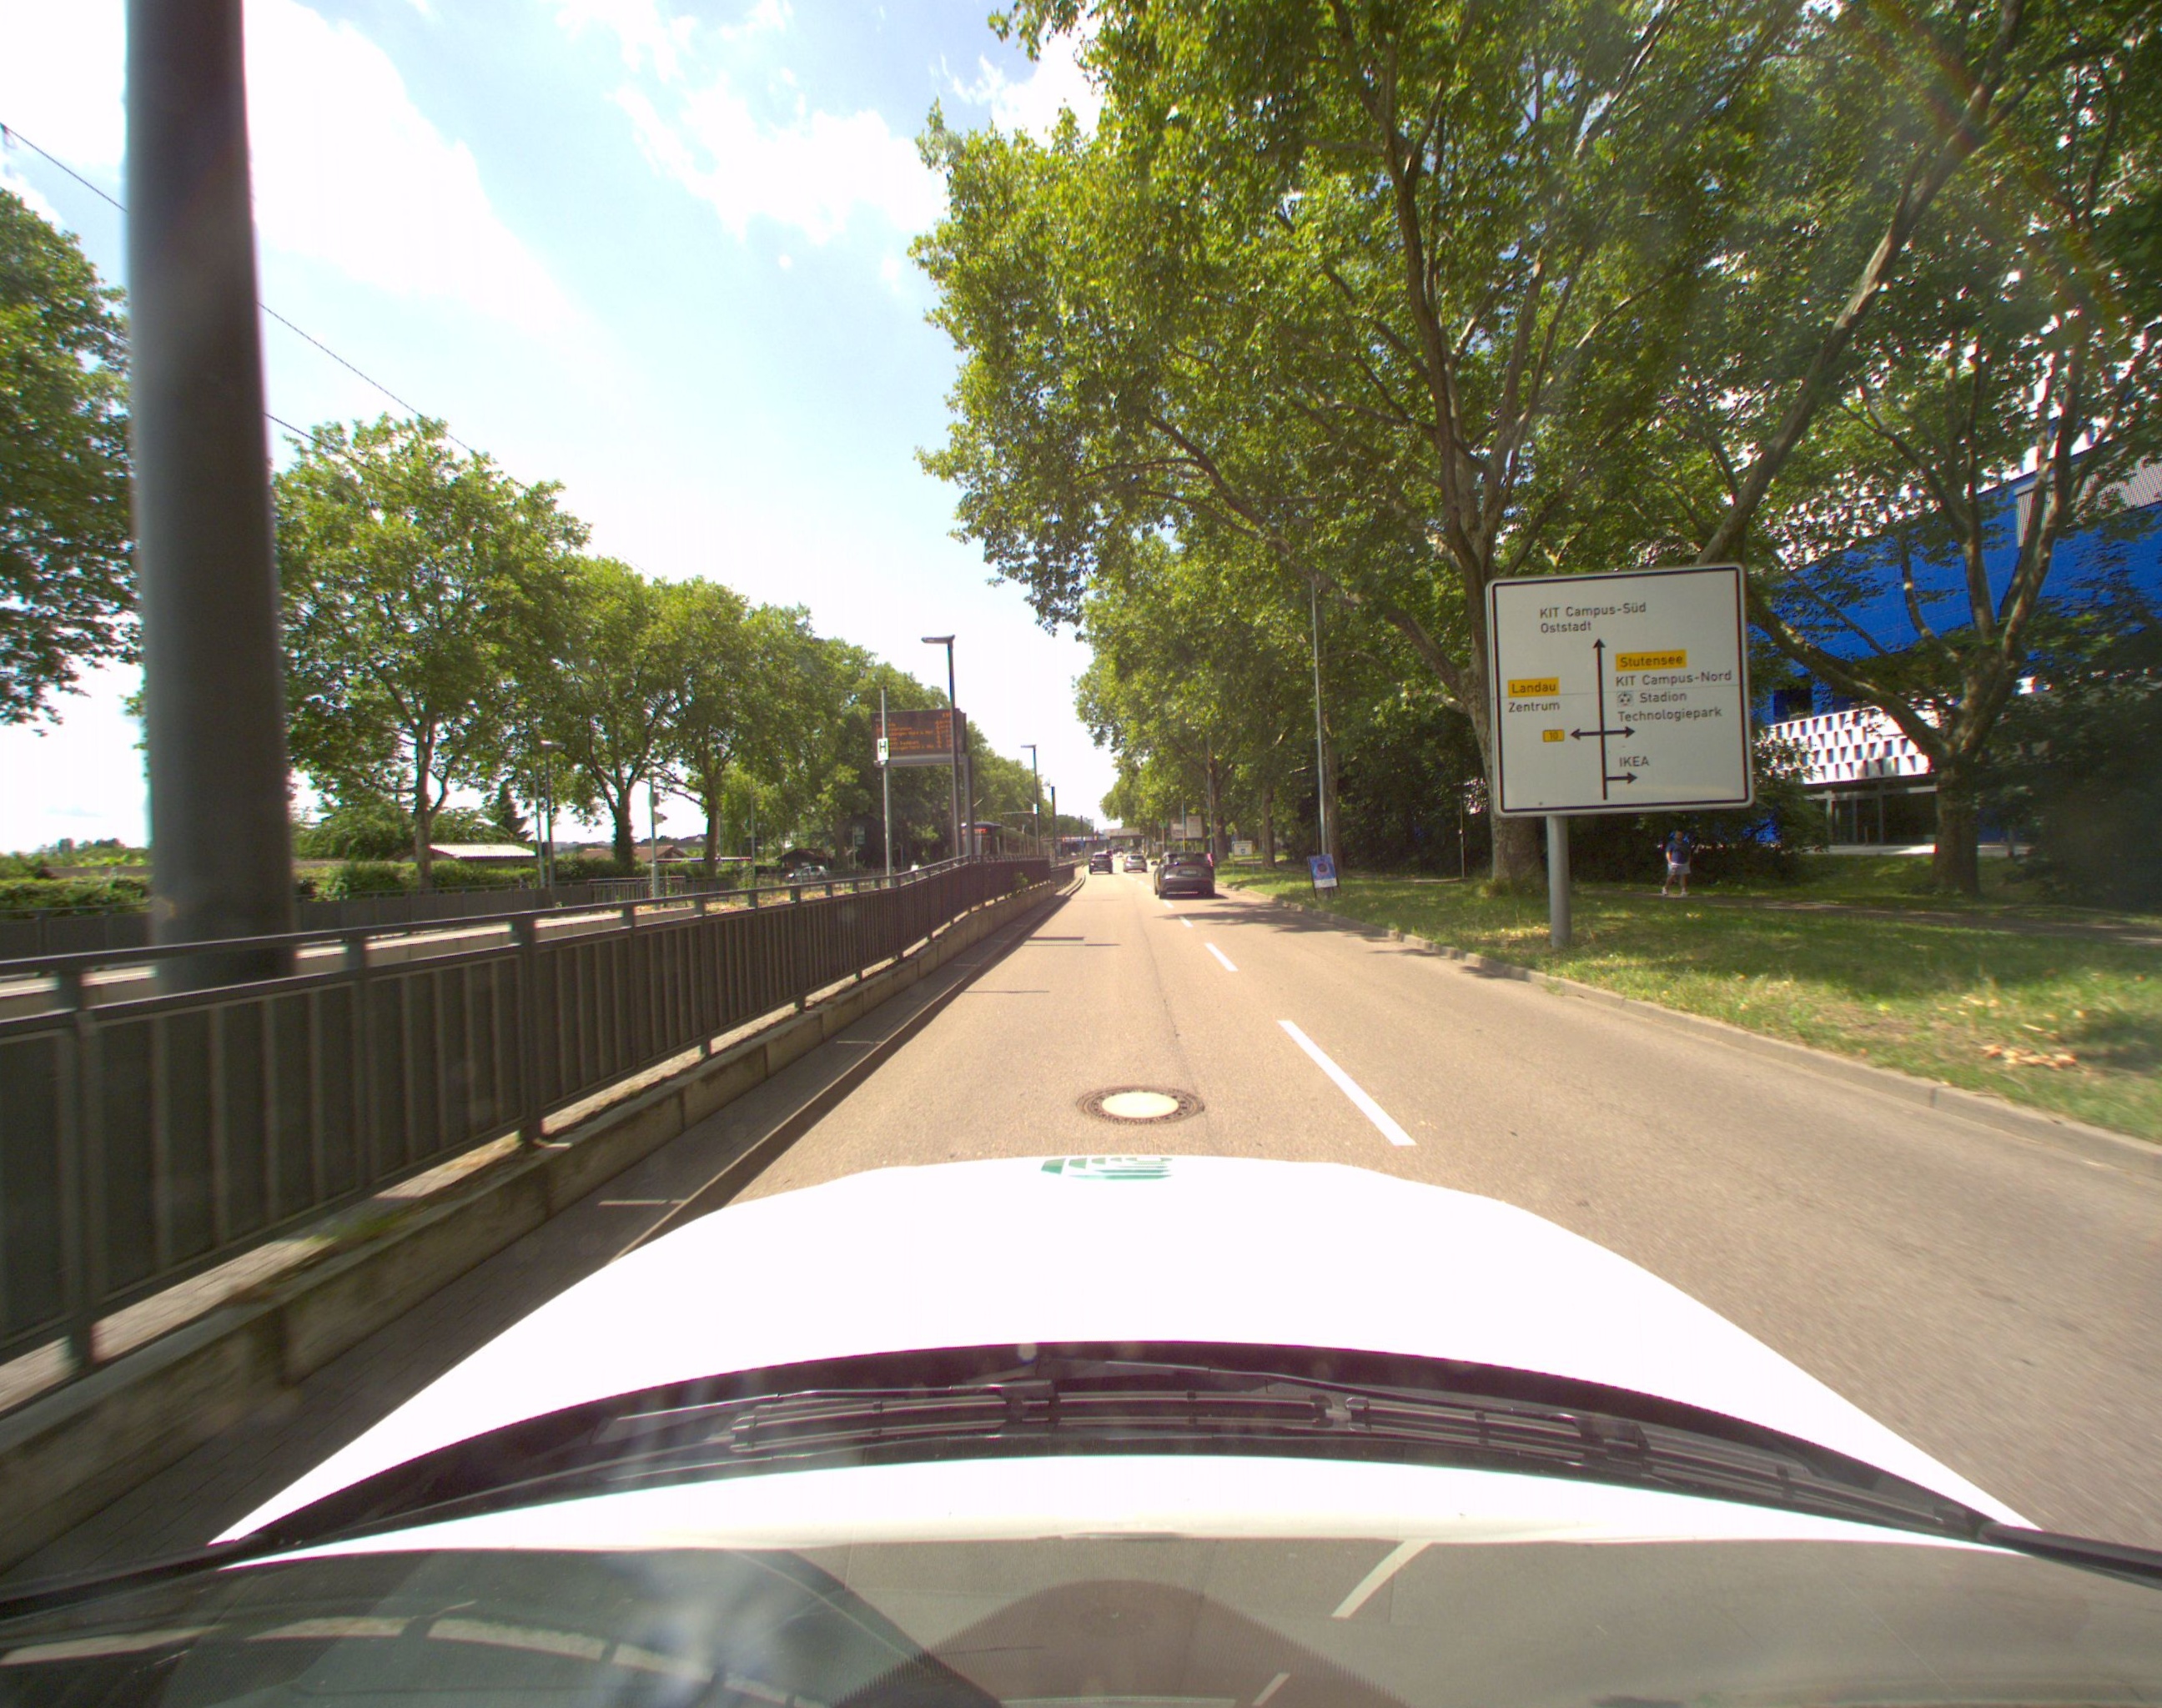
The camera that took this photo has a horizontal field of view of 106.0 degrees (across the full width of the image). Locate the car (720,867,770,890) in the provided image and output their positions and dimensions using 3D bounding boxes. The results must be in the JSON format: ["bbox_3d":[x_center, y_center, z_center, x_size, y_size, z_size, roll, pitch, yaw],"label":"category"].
[{"bbox_3d":[-30.641,2.242,74.294,3.998,1.859,1.988,-2,1,-18],"label":"car"}]

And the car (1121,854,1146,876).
[{"bbox_3d":[4.243,0.858,65.986,1.825,1.630,4.297,-2,0,1],"label":"car"}]

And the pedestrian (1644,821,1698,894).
[{"bbox_3d":[16.641,0.101,22.983,0.833,2.013,0.957,0,0,1],"label":"pedestrian"}]

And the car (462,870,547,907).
[{"bbox_3d":[-30.474,1.795,43.189,1.807,1.683,3.641,-1,1,2],"label":"car"}]

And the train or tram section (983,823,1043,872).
[{"bbox_3d":[-4.727,-0.442,58.907,3.025,3.186,9.453,-2,0,2],"label":"train or tram section"}]

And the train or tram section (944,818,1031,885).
[{"bbox_3d":[-5.061,-0.128,47.273,3.026,3.186,14.104,-2,0,1],"label":"train or tram section"}]

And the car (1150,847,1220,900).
[{"bbox_3d":[3.535,0.627,28.546,1.891,1.674,4.520,-2,0,1],"label":"car"}]

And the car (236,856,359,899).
[{"bbox_3d":[-34.456,0.976,35.962,1.807,1.683,3.641,-1,1,2],"label":"car"}]

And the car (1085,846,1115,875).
[{"bbox_3d":[1.478,0.442,62.230,1.984,1.989,4.369,-2,2,4],"label":"car"}]

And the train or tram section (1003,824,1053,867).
[{"bbox_3d":[-4.281,-0.661,67.952,3.025,3.186,9.453,-2,0,2],"label":"train or tram section"}]

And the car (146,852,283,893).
[{"bbox_3d":[-39.276,0.789,37.084,1.896,1.661,3.930,-1,1,2],"label":"car"}]

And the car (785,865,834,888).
[{"bbox_3d":[-25.075,2.069,75.438,3.988,1.859,1.993,-2,1,-11],"label":"car"}]
